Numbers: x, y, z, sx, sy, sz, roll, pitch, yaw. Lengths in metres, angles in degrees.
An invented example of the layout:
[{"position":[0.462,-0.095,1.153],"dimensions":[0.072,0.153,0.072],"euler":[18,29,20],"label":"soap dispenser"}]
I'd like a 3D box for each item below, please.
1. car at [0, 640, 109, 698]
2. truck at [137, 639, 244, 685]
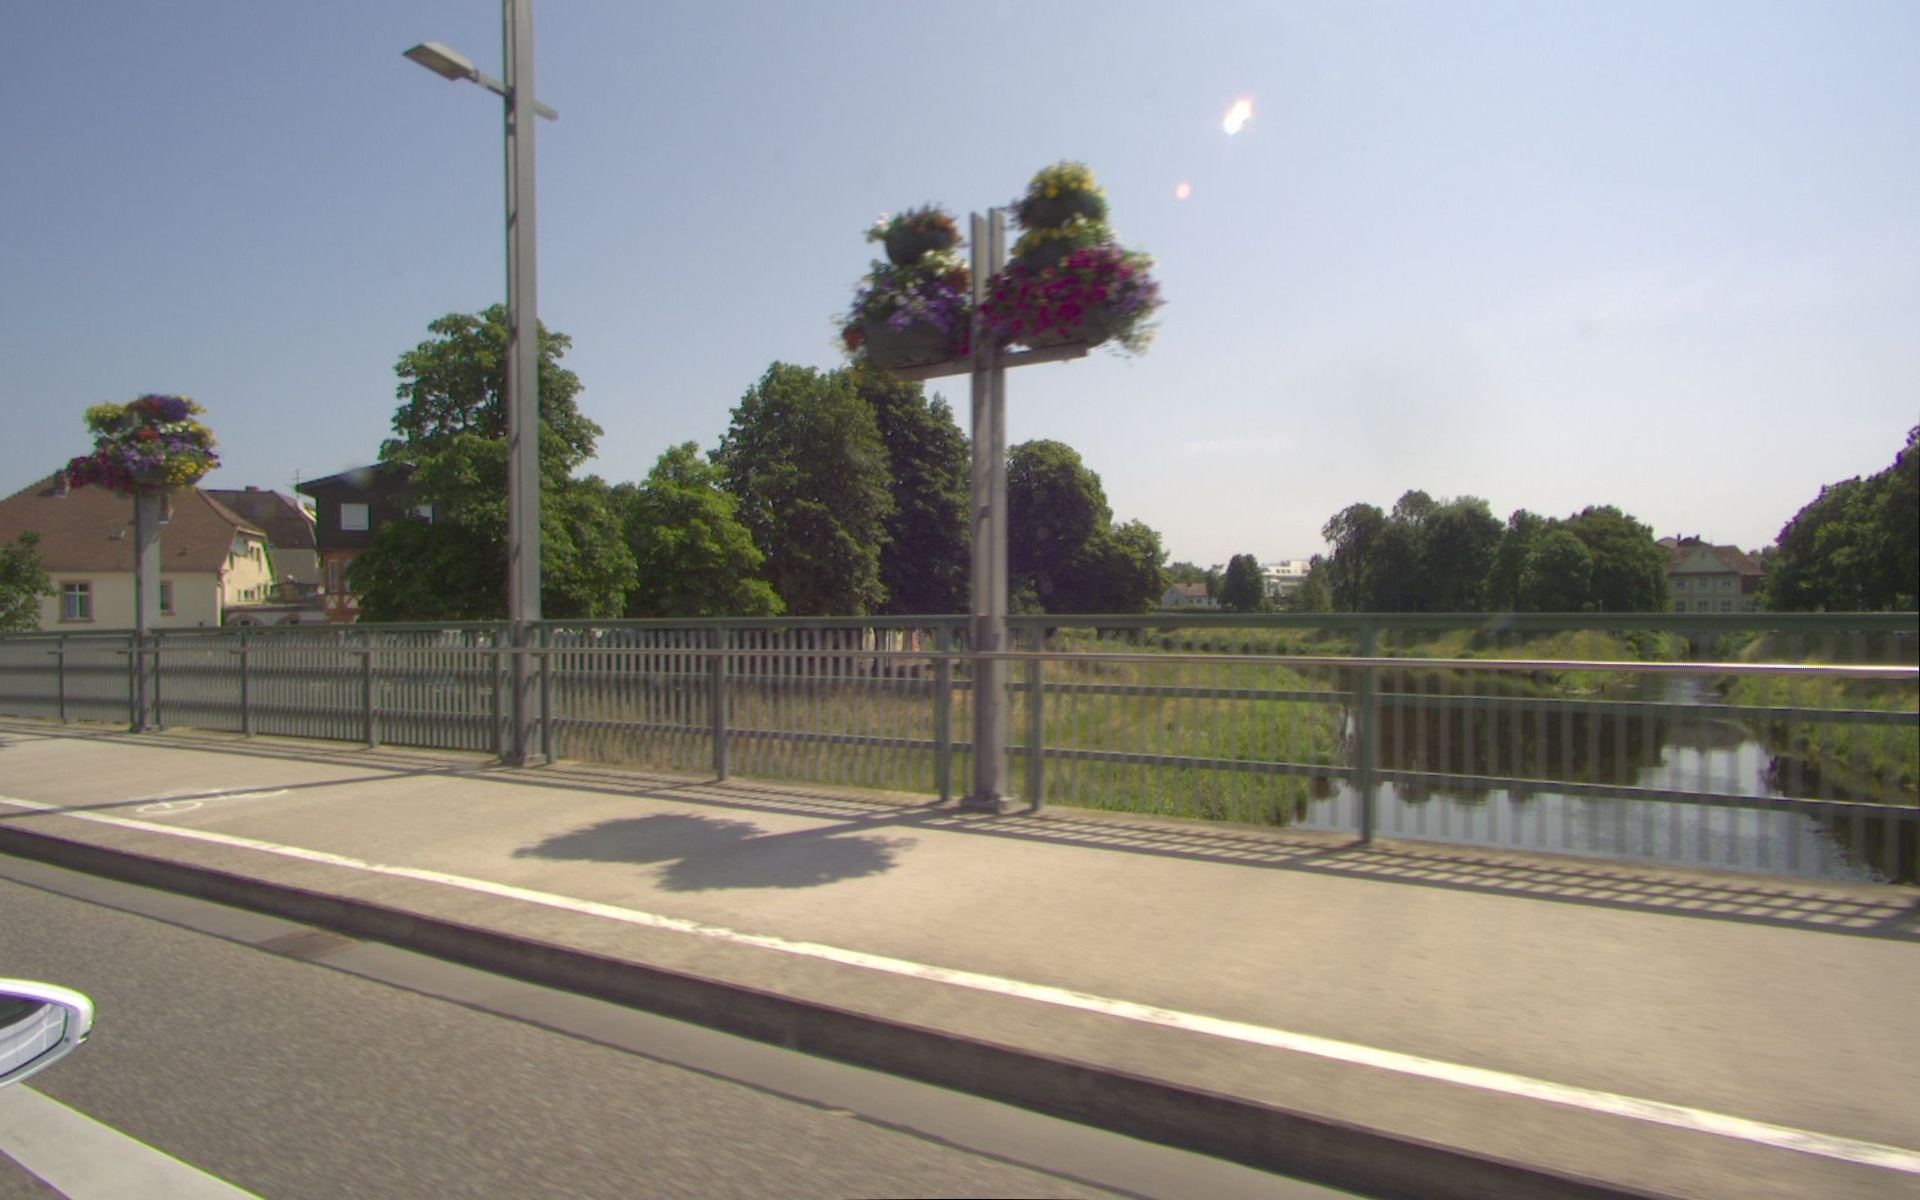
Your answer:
[{"position":[-45.307,3.325,48.700],"dimensions":[5.547,2.662,2.233],"euler":[0,-1,-27],"label":"car"},{"position":[-39.365,3.138,51.346],"dimensions":[4.007,2.243,1.807],"euler":[1,-1,-26],"label":"truck"}]
